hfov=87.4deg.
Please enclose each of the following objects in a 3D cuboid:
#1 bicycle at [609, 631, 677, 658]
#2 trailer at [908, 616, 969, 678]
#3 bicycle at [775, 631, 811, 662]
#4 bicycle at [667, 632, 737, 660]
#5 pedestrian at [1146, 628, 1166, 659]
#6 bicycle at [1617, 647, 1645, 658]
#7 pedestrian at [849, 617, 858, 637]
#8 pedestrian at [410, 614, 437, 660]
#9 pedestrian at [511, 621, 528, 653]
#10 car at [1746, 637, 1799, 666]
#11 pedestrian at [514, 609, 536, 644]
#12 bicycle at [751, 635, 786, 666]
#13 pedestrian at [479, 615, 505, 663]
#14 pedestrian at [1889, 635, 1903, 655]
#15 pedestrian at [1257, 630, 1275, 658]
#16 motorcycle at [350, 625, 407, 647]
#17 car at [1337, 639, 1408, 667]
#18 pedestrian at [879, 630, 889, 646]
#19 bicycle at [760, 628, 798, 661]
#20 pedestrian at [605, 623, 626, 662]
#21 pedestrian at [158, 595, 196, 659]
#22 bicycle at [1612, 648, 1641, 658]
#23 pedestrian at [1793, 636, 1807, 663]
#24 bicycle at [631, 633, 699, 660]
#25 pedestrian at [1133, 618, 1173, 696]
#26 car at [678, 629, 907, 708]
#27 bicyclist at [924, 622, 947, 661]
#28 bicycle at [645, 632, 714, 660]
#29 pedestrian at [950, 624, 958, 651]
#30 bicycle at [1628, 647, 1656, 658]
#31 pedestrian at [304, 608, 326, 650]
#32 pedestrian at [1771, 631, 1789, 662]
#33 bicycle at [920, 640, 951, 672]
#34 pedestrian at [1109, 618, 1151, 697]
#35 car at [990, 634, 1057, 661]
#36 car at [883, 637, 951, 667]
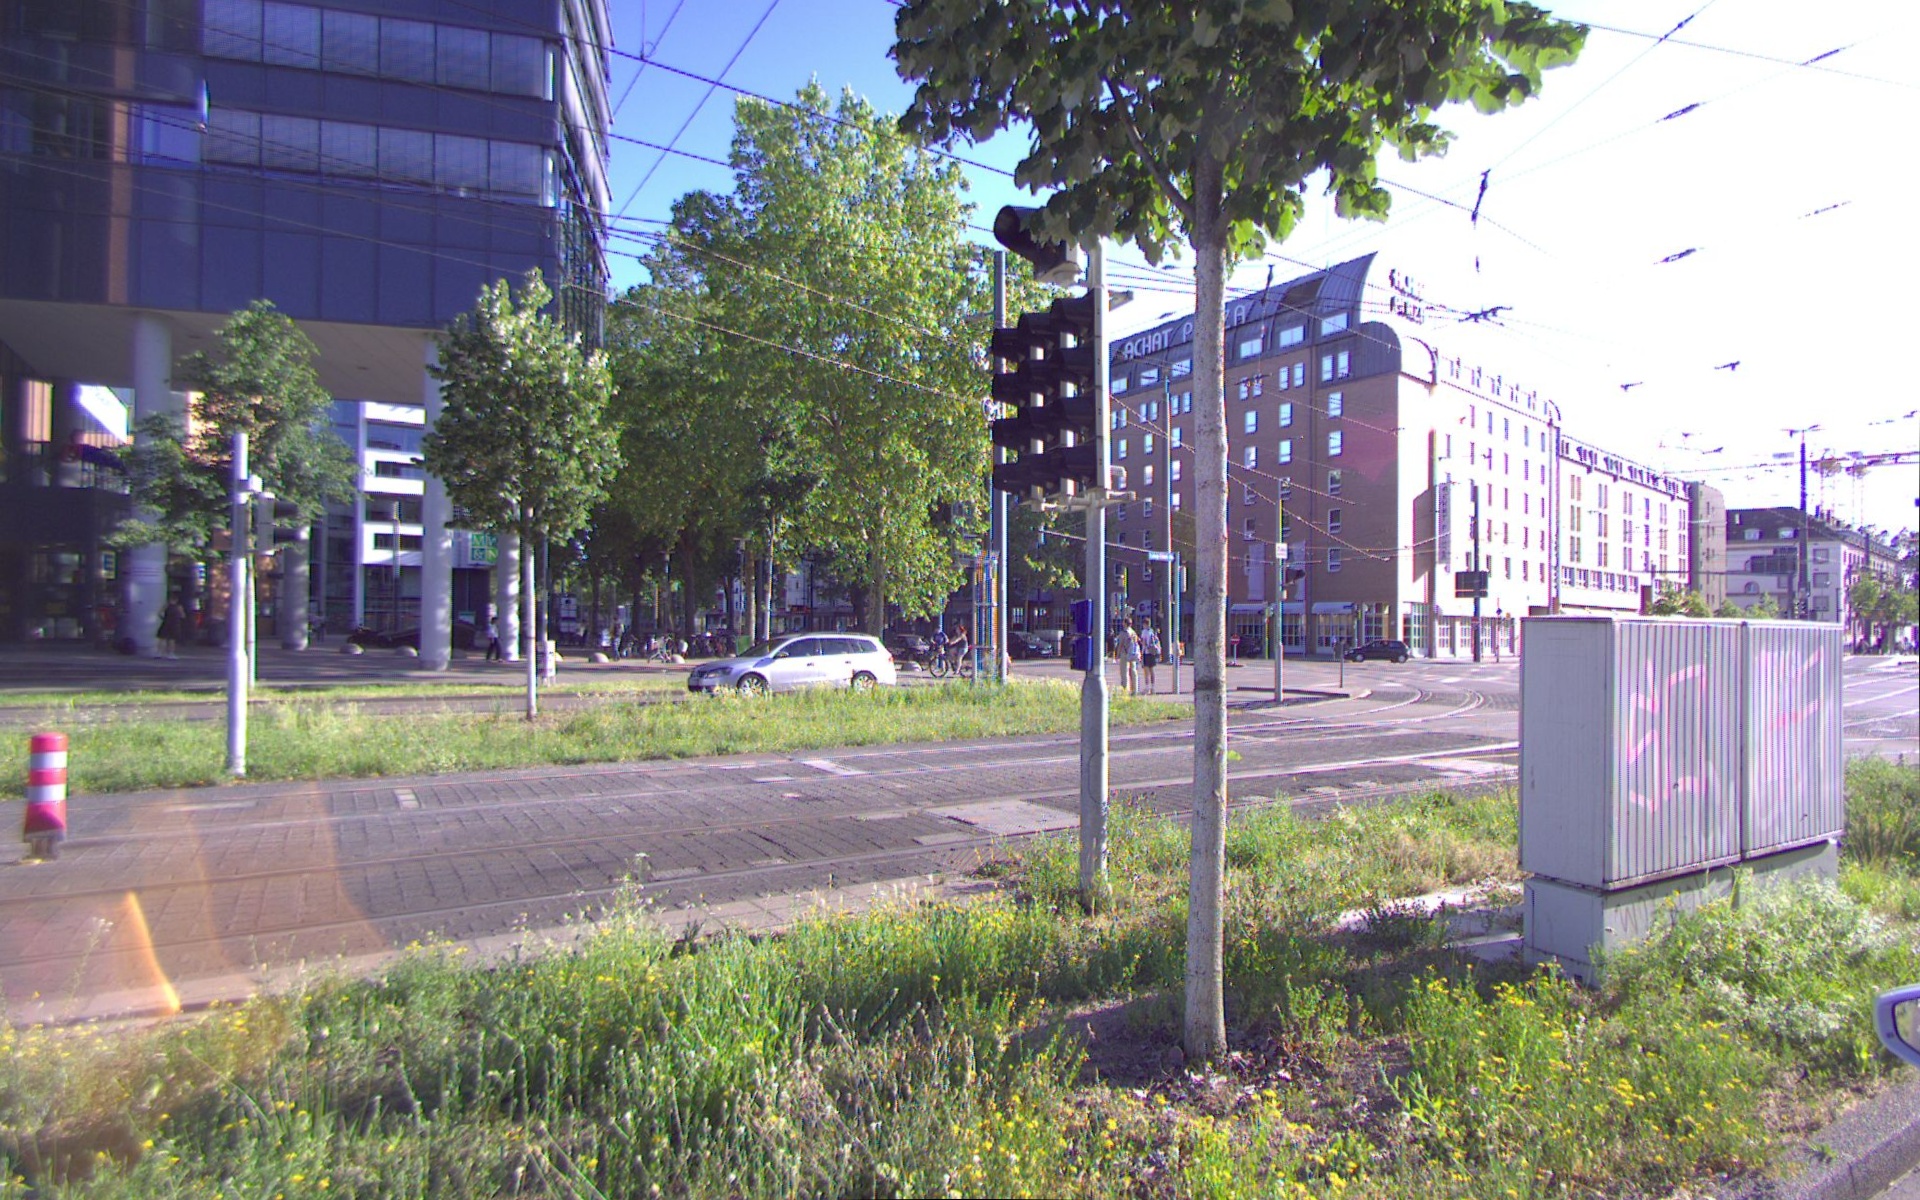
[{"bbox_3d":[-16.721,2.339,53.114,1.021,1.371,3.342,-1,-2,44],"label":"bicycle"},{"bbox_3d":[-0.747,1.595,34.606,1.257,2.040,1.983,2,0,-31],"label":"trailer"},{"bbox_3d":[-6.483,1.792,38.834,0.592,1.143,2.348,0,-1,-30],"label":"bicycle"},{"bbox_3d":[-12.809,2.278,49.940,1.021,1.371,3.342,-1,-2,44],"label":"bicycle"},{"bbox_3d":[10.940,2.417,55.950,0.821,1.702,0.711,0,-1,-30],"label":"pedestrian"},{"bbox_3d":[58.454,4.565,87.529,0.477,0.933,2.024,1,-2,-30],"label":"bicycle"},{"bbox_3d":[-8.809,2.236,82.959,0.557,1.594,0.636,2,0,-20],"label":"pedestrian"},{"bbox_3d":[-19.567,1.347,36.654,0.722,1.644,0.696,1,-1,-18],"label":"pedestrian"},{"bbox_3d":[-24.445,2.055,55.733,0.691,1.737,0.727,1,-1,-33],"label":"pedestrian"},{"bbox_3d":[53.586,3.377,66.263,4.071,1.859,1.825,2,-4,-38],"label":"car"},{"bbox_3d":[-20.688,1.266,47.818,0.685,1.644,0.734,1,-1,1],"label":"pedestrian"},{"bbox_3d":[-7.467,1.935,39.135,0.592,1.143,2.348,0,-1,-30],"label":"bicycle"},{"bbox_3d":[-16.983,1.411,36.482,0.819,1.702,0.712,-1,-1,-23],"label":"pedestrian"},{"bbox_3d":[82.296,3.952,88.348,0.850,1.692,0.781,0,0,39],"label":"pedestrian"},{"bbox_3d":[18.706,2.674,61.412,0.824,1.702,0.708,0,-1,-39],"label":"pedestrian"},{"bbox_3d":[-28.661,1.768,49.573,2.309,1.072,0.828,1,-1,-22],"label":"motorcycle"},{"bbox_3d":[25.471,3.276,62.108,3.783,1.622,1.616,0,-1,8],"label":"car"},{"bbox_3d":[-5.695,2.863,75.054,0.583,1.179,0.742,1,-1,-17],"label":"pedestrian"},{"bbox_3d":[-6.513,1.577,36.075,0.592,1.143,2.349,0,-1,-29],"label":"bicycle"},{"bbox_3d":[-14.848,1.833,43.318,0.691,1.674,0.700,2,-1,-32],"label":"pedestrian"},{"bbox_3d":[-21.398,0.740,27.458,0.691,1.727,0.728,1,-2,-31],"label":"pedestrian"},{"bbox_3d":[57.421,4.553,86.561,0.477,0.856,2.024,1,-2,-30],"label":"bicycle"},{"bbox_3d":[49.410,2.913,59.112,0.573,1.598,0.644,0,-2,36],"label":"pedestrian"},{"bbox_3d":[-15.361,2.398,52.331,1.021,1.371,3.342,-1,-2,44],"label":"bicycle"},{"bbox_3d":[4.808,1.407,25.083,0.666,1.894,0.727,1,-2,-33],"label":"pedestrian"},{"bbox_3d":[-3.581,1.436,21.997,4.758,1.548,1.610,2,-2,-37],"label":"car"},{"bbox_3d":[-0.928,1.575,38.390,0.683,1.480,0.751,1,-1,-18],"label":"bicyclist"},{"bbox_3d":[-14.307,2.346,51.264,1.021,1.371,3.342,-1,-2,44],"label":"bicycle"},{"bbox_3d":[-0.425,2.645,71.110,0.581,1.853,0.745,1,-1,-1],"label":"pedestrian"},{"bbox_3d":[59.627,4.572,87.800,0.477,0.933,2.024,1,-2,-30],"label":"bicycle"},{"bbox_3d":[-25.624,1.150,39.899,0.691,1.644,0.728,1,-1,-31],"label":"pedestrian"},{"bbox_3d":[47.367,2.666,58.035,0.589,1.750,0.715,2,-2,-39],"label":"pedestrian"},{"bbox_3d":[-0.943,2.118,38.407,0.683,1.152,1.844,1,-2,-18],"label":"bicycle"},{"bbox_3d":[4.138,1.383,24.438,0.691,1.894,0.728,1,-2,-31],"label":"pedestrian"},{"bbox_3d":[3.463,2.578,55.235,1.653,1.433,3.965,2,-3,-32],"label":"car"},{"bbox_3d":[-2.157,2.513,49.162,1.652,1.425,3.968,2,-3,-30],"label":"car"}]
